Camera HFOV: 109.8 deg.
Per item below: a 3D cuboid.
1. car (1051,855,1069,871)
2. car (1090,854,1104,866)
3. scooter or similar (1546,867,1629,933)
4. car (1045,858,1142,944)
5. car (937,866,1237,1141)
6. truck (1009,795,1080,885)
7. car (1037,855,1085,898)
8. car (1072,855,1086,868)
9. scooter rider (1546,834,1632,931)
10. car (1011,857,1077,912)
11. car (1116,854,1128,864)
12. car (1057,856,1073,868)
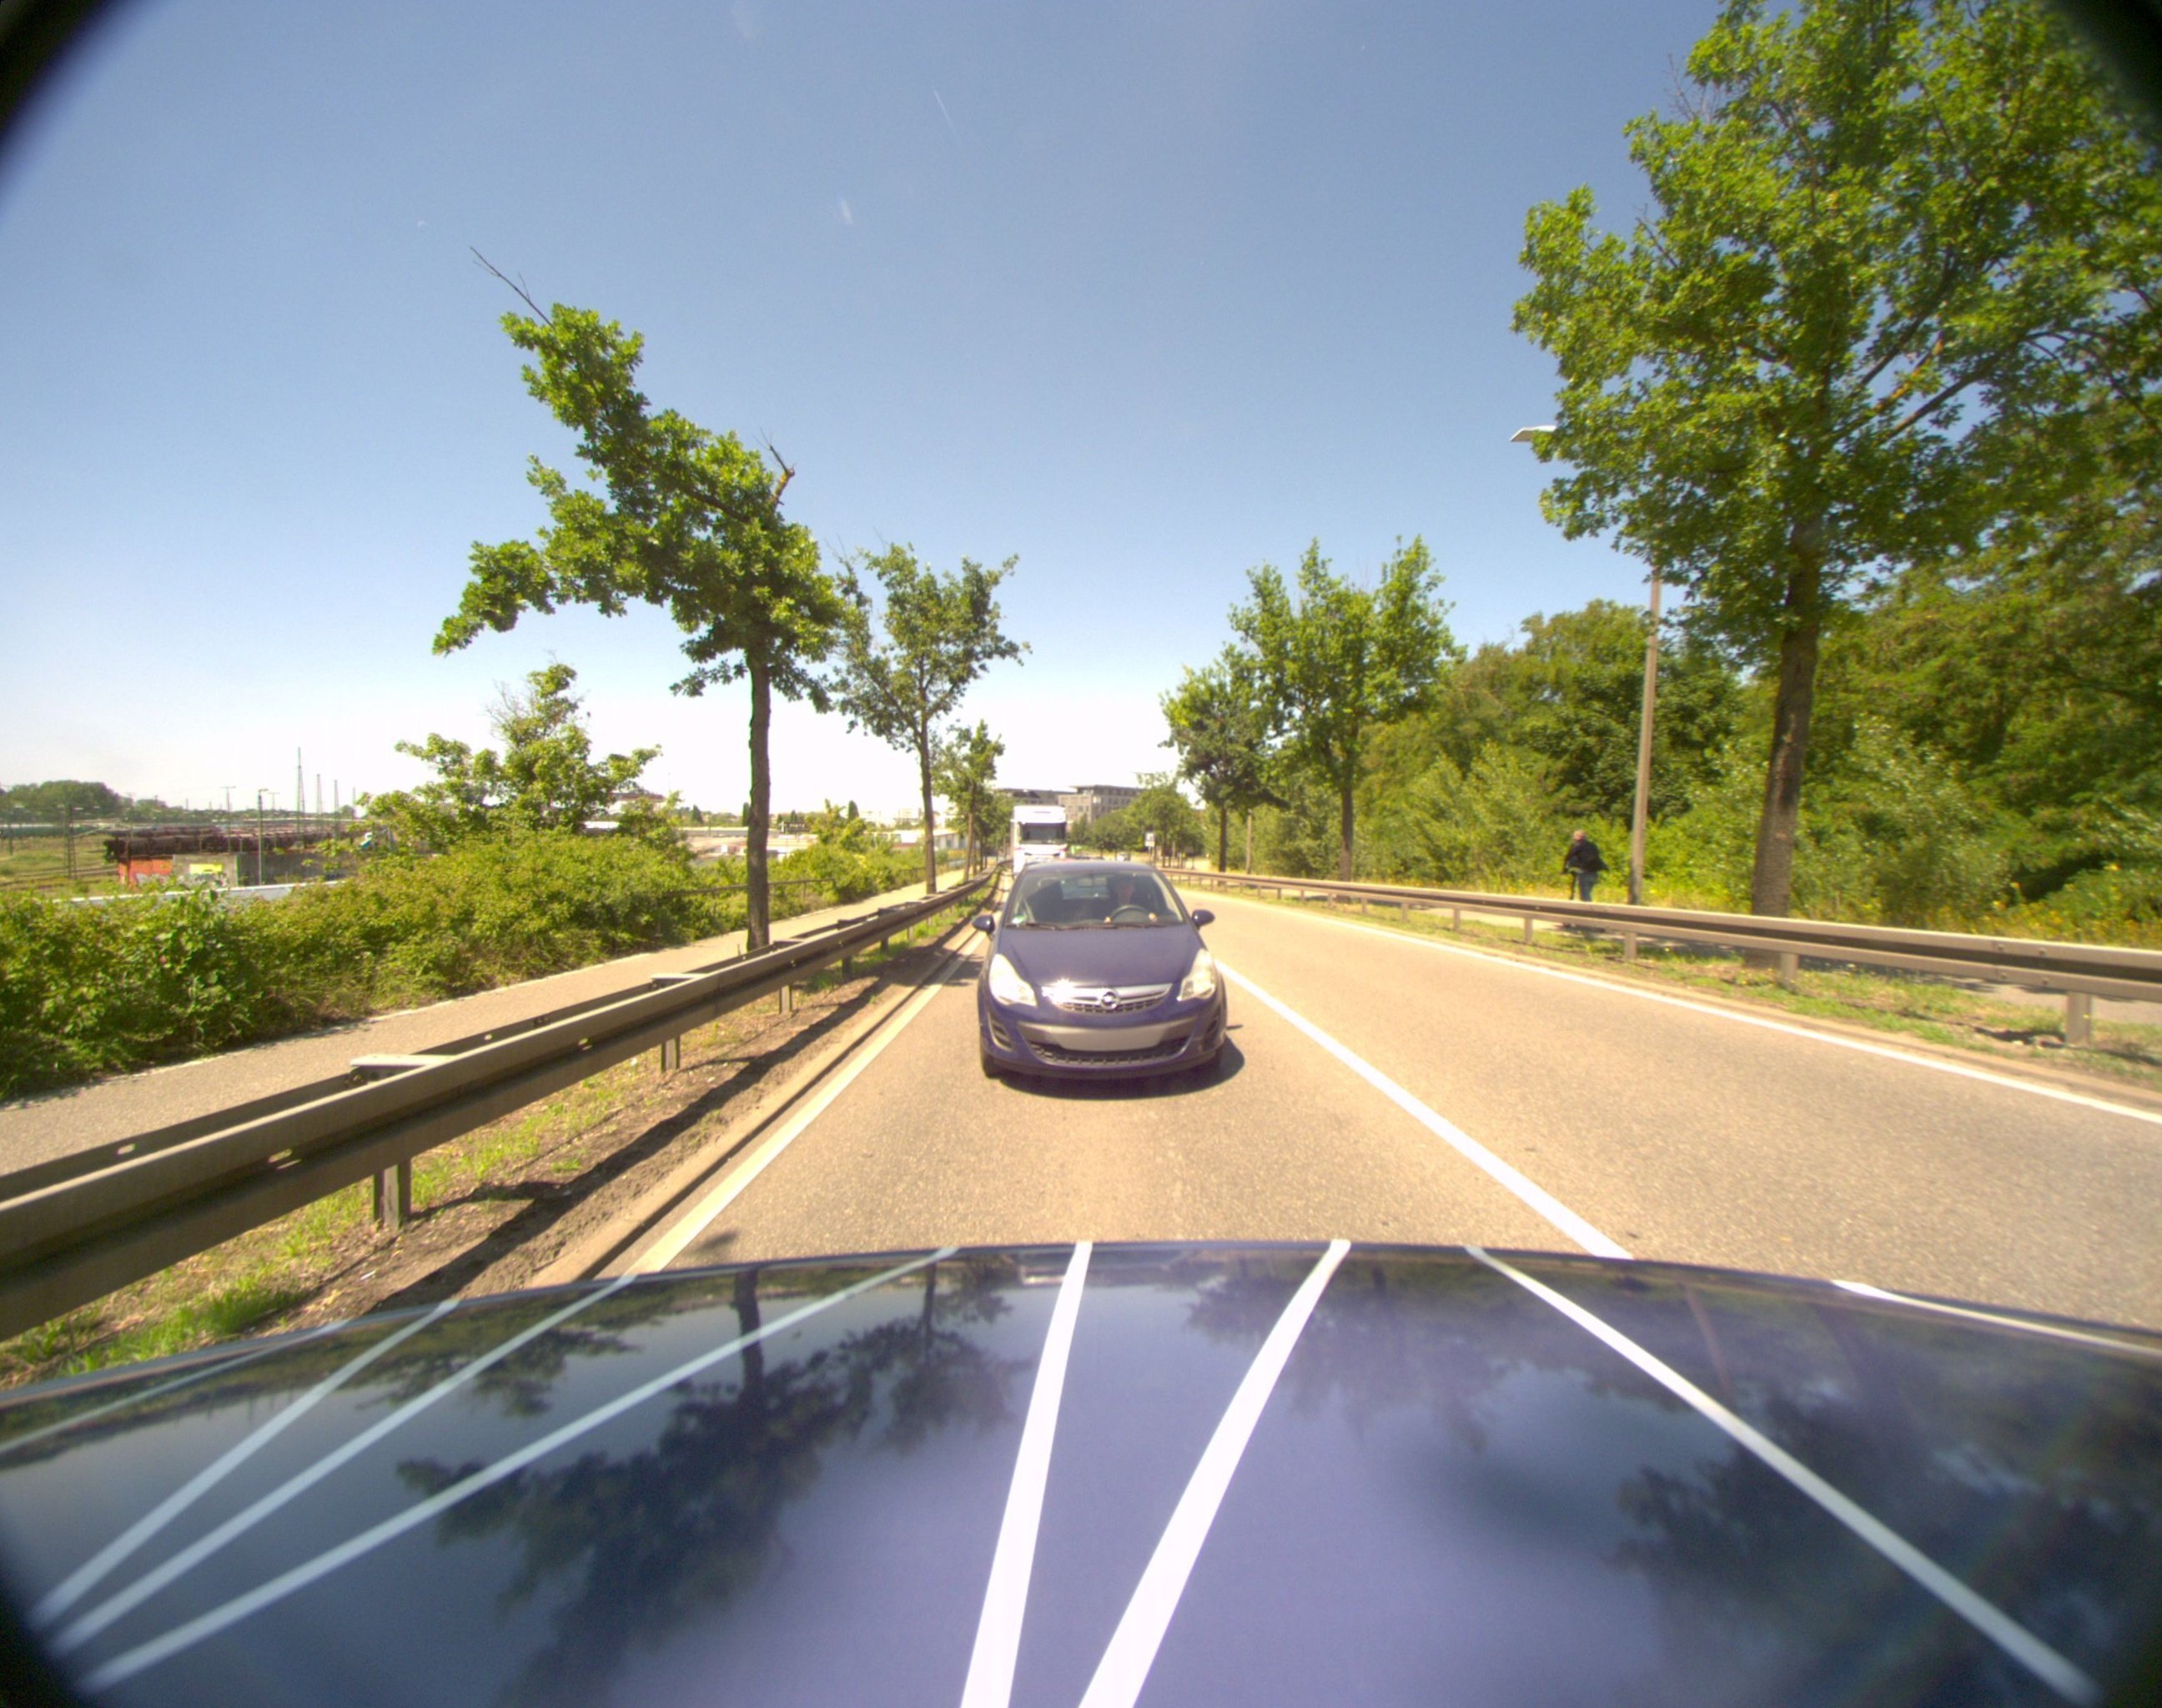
[{"bbox_3d":[-2.819,1.231,102.720,1.779,2.002,4.002,-2,1,7],"label":"car"},{"bbox_3d":[3.040,1.122,144.695,1.778,2.002,4.003,-2,1,12],"label":"car"},{"bbox_3d":[9.050,0.799,13.621,0.779,1.085,1.095,-2,1,3],"label":"scooter or similar"},{"bbox_3d":[0.250,0.904,16.257,1.780,1.498,3.896,-2,1,0],"label":"car"},{"bbox_3d":[-0.010,0.907,6.377,1.720,1.455,3.836,-2,1,-2],"label":"car"},{"bbox_3d":[-2.506,-0.734,44.260,3.072,4.146,16.900,-2,1,-6],"label":"truck"},{"bbox_3d":[-0.885,0.890,31.856,1.781,1.569,3.998,-2,1,-4],"label":"car"},{"bbox_3d":[-0.312,1.255,127.340,1.779,2.002,4.002,-2,1,7],"label":"car"},{"bbox_3d":[9.054,0.479,13.589,0.779,1.648,1.120,-2,1,2],"label":"scooter rider"},{"bbox_3d":[-1.165,0.858,23.102,1.781,1.398,3.998,-2,1,-4],"label":"car"},{"bbox_3d":[8.702,0.959,161.400,1.778,2.002,4.003,-2,1,12],"label":"car"},{"bbox_3d":[-2.290,1.173,112.421,1.779,1.657,4.002,-2,1,7],"label":"car"}]
